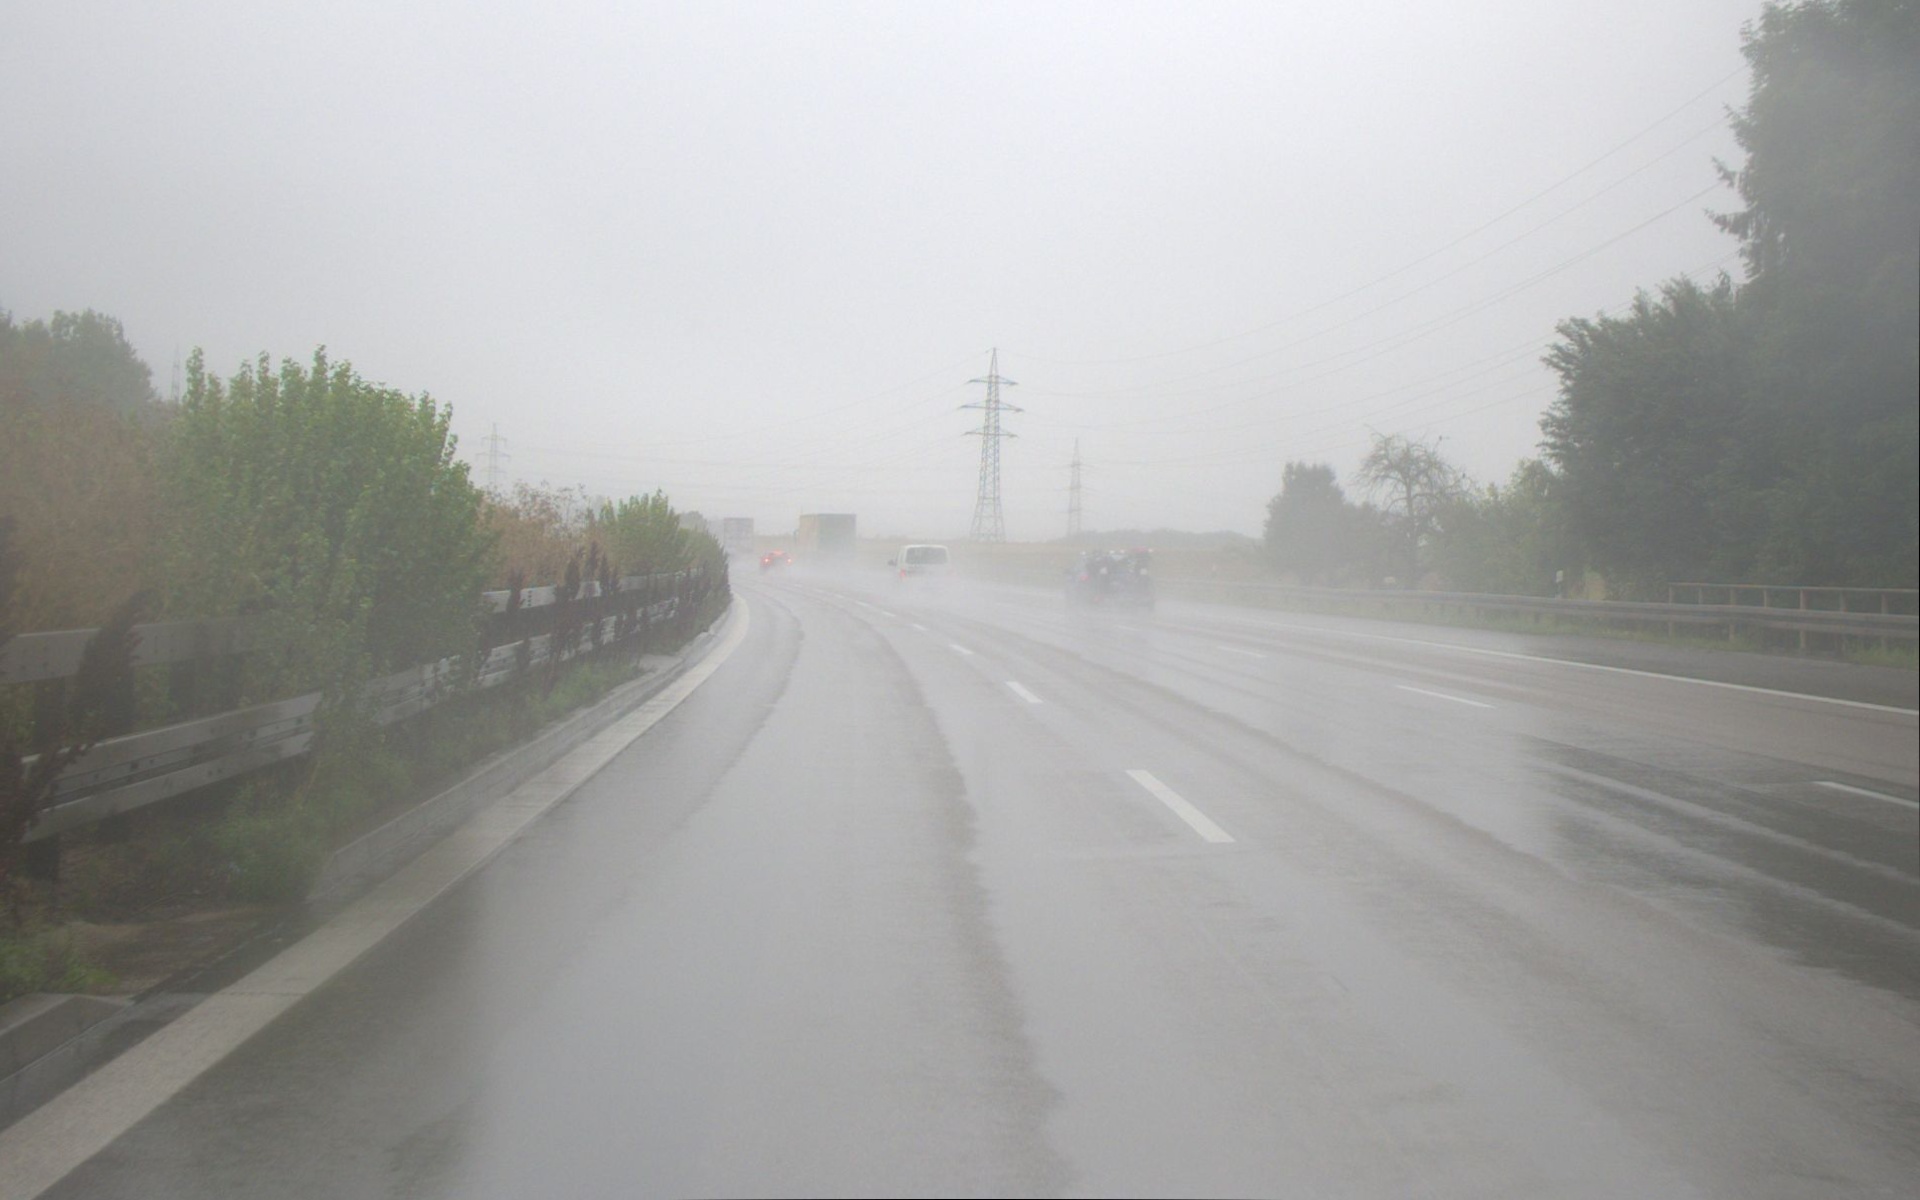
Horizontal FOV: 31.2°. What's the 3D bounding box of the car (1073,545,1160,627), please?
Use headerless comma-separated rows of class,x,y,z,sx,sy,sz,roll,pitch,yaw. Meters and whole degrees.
car,4.255,-0.414,94.139,1.806,2.151,4.001,1,1,-5

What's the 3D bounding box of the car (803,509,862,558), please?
car,-8.682,-4.531,233.982,3.199,3.182,7.259,1,1,-8
